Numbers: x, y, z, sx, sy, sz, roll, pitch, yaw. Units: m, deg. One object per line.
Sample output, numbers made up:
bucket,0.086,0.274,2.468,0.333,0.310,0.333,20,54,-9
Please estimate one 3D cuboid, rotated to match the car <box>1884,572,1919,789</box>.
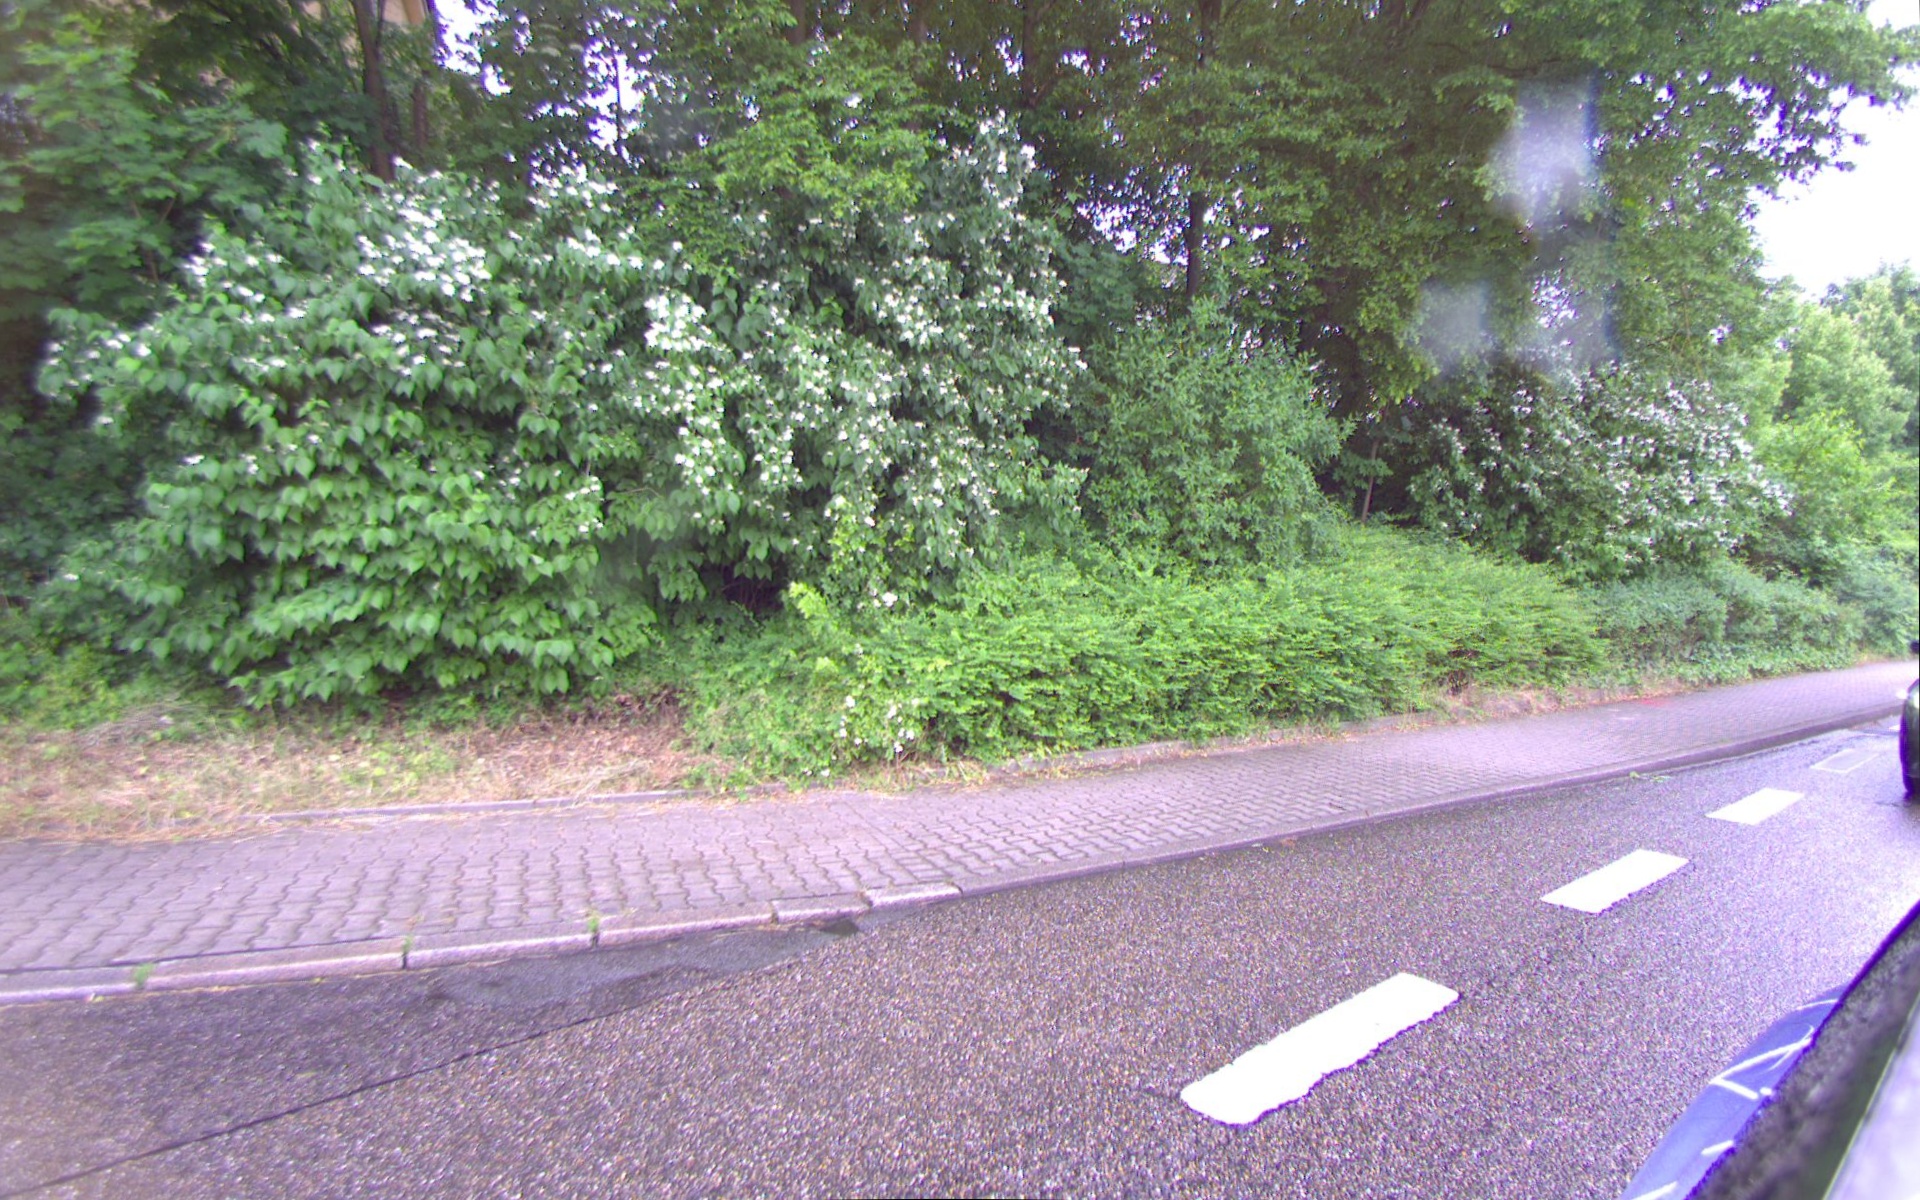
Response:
car,8.871,0.600,7.655,4.118,1.524,1.875,0,4,-35
